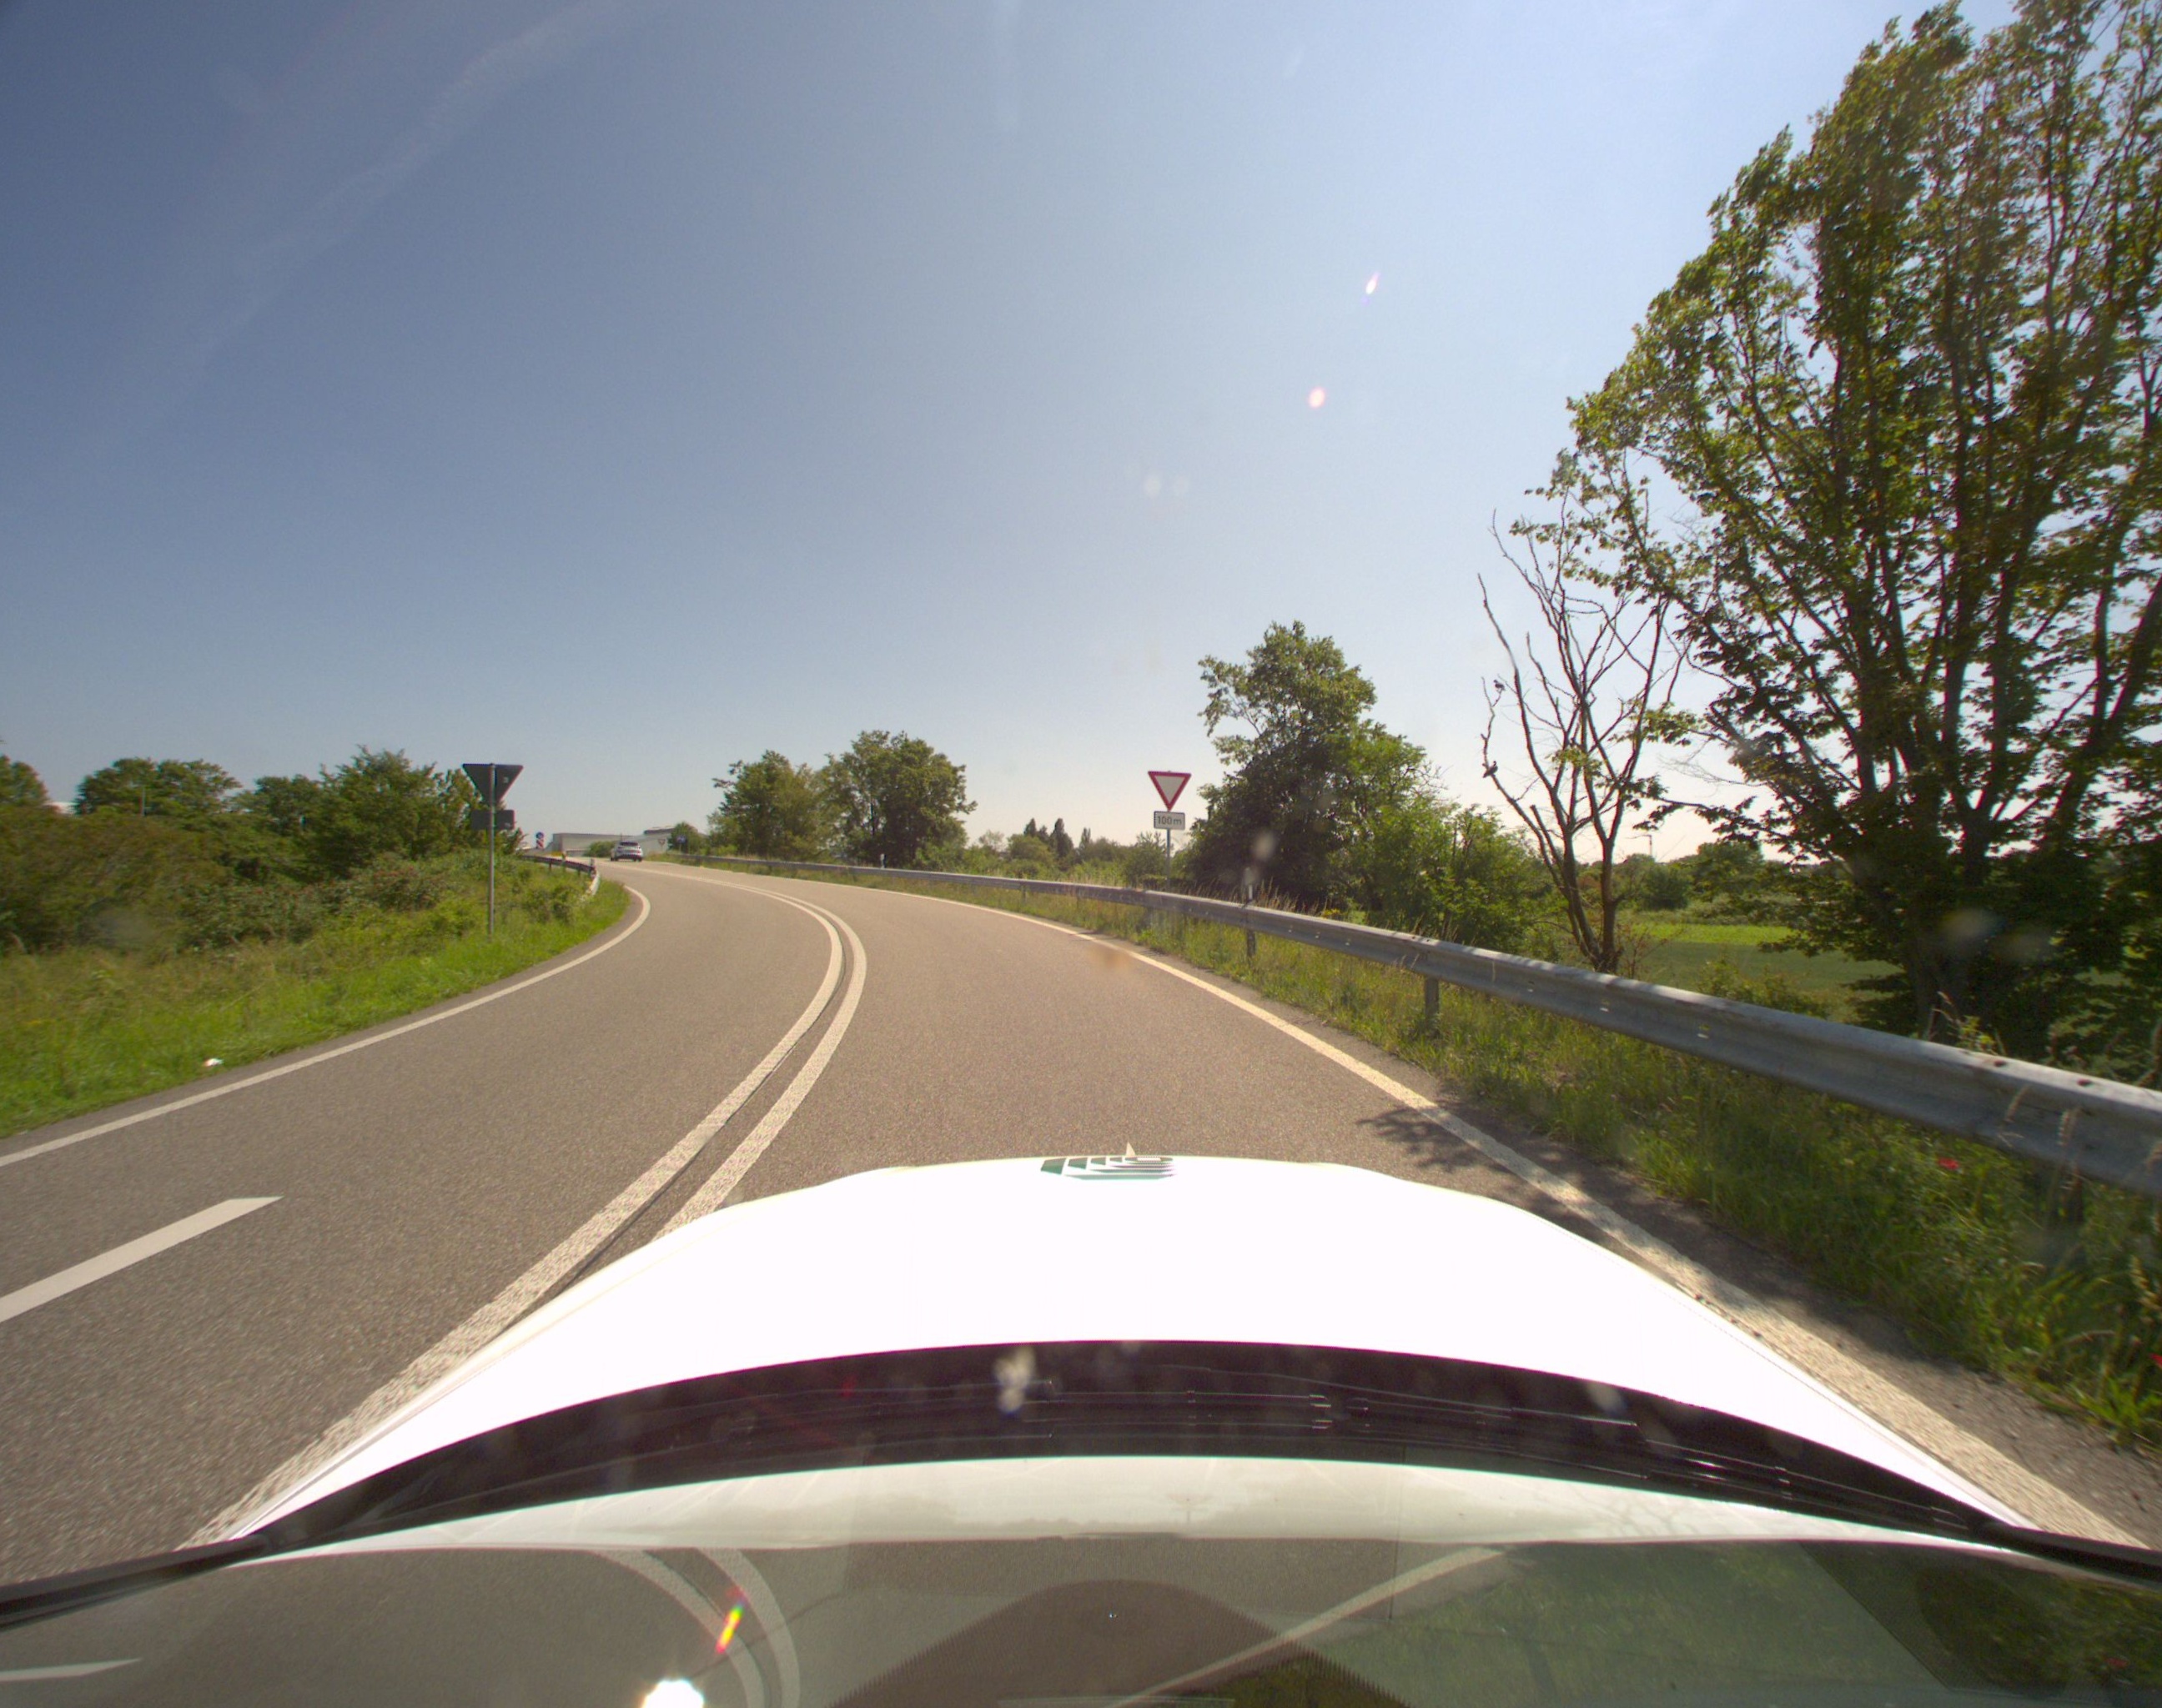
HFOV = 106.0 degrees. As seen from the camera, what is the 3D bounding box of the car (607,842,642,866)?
[{"bbox_3d":[-34.942,0.030,62.299,1.823,1.691,3.955,1,-2,-38],"label":"car"}]
